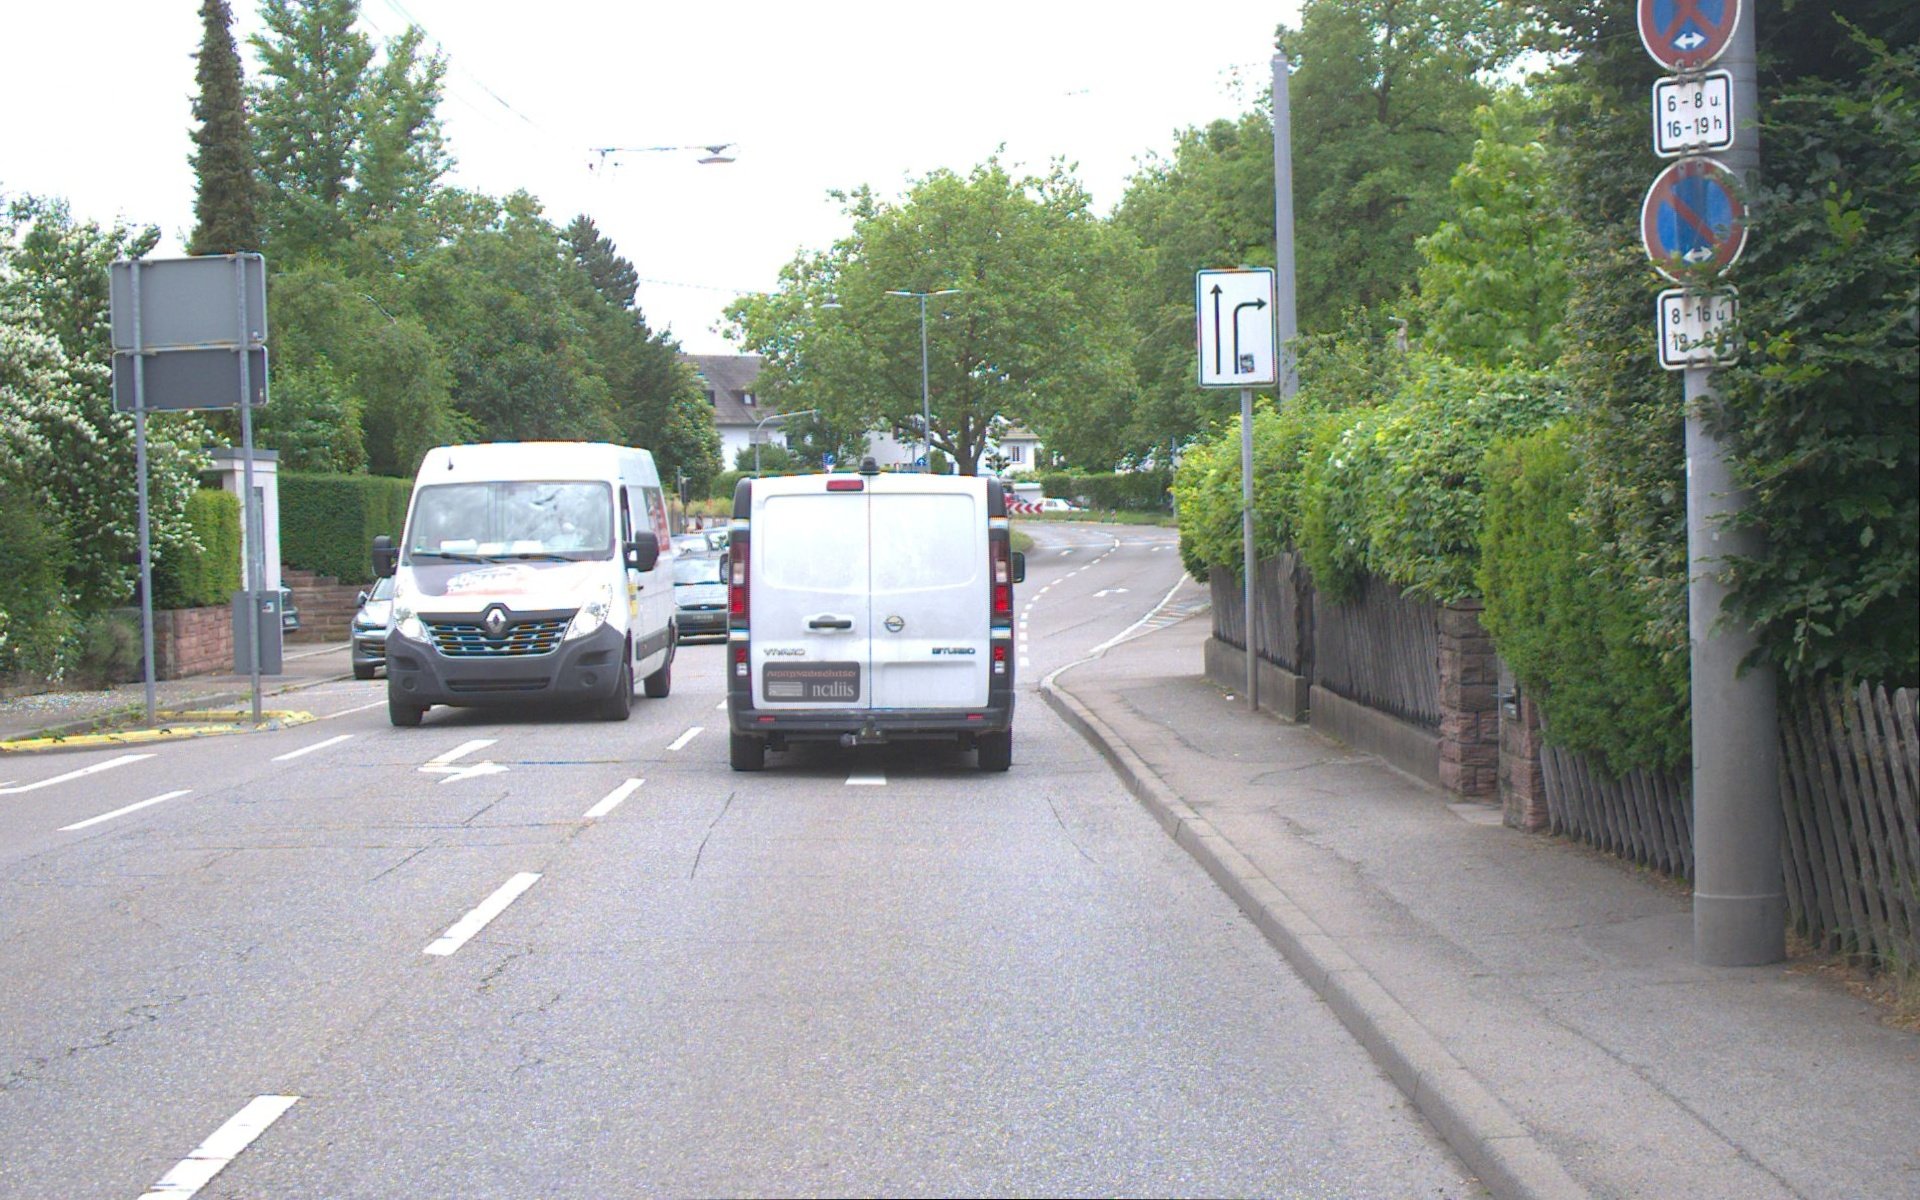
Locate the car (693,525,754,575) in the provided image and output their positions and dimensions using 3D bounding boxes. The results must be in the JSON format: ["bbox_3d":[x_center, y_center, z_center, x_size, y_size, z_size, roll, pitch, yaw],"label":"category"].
[{"bbox_3d":[-7.923,-1.694,115.570,1.887,1.619,4.431,-1,1,-2],"label":"car"}]

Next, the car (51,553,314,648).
[{"bbox_3d":[-12.193,0.002,54.033,3.589,1.386,1.849,-1,1,9],"label":"car"}]

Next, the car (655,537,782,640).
[{"bbox_3d":[-3.867,-0.215,55.593,1.734,1.548,4.448,-1,1,0],"label":"car"}]

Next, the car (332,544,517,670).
[{"bbox_3d":[-6.997,0.056,45.338,1.809,1.450,4.414,-3,1,-2],"label":"car"}]

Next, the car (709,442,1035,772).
[{"bbox_3d":[-0.625,-0.011,24.049,2.006,2.031,5.011,1,1,-2],"label":"car"}]

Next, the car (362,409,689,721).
[{"bbox_3d":[-3.768,-0.325,30.966,2.111,2.490,6.124,-1,1,0],"label":"car"}]
